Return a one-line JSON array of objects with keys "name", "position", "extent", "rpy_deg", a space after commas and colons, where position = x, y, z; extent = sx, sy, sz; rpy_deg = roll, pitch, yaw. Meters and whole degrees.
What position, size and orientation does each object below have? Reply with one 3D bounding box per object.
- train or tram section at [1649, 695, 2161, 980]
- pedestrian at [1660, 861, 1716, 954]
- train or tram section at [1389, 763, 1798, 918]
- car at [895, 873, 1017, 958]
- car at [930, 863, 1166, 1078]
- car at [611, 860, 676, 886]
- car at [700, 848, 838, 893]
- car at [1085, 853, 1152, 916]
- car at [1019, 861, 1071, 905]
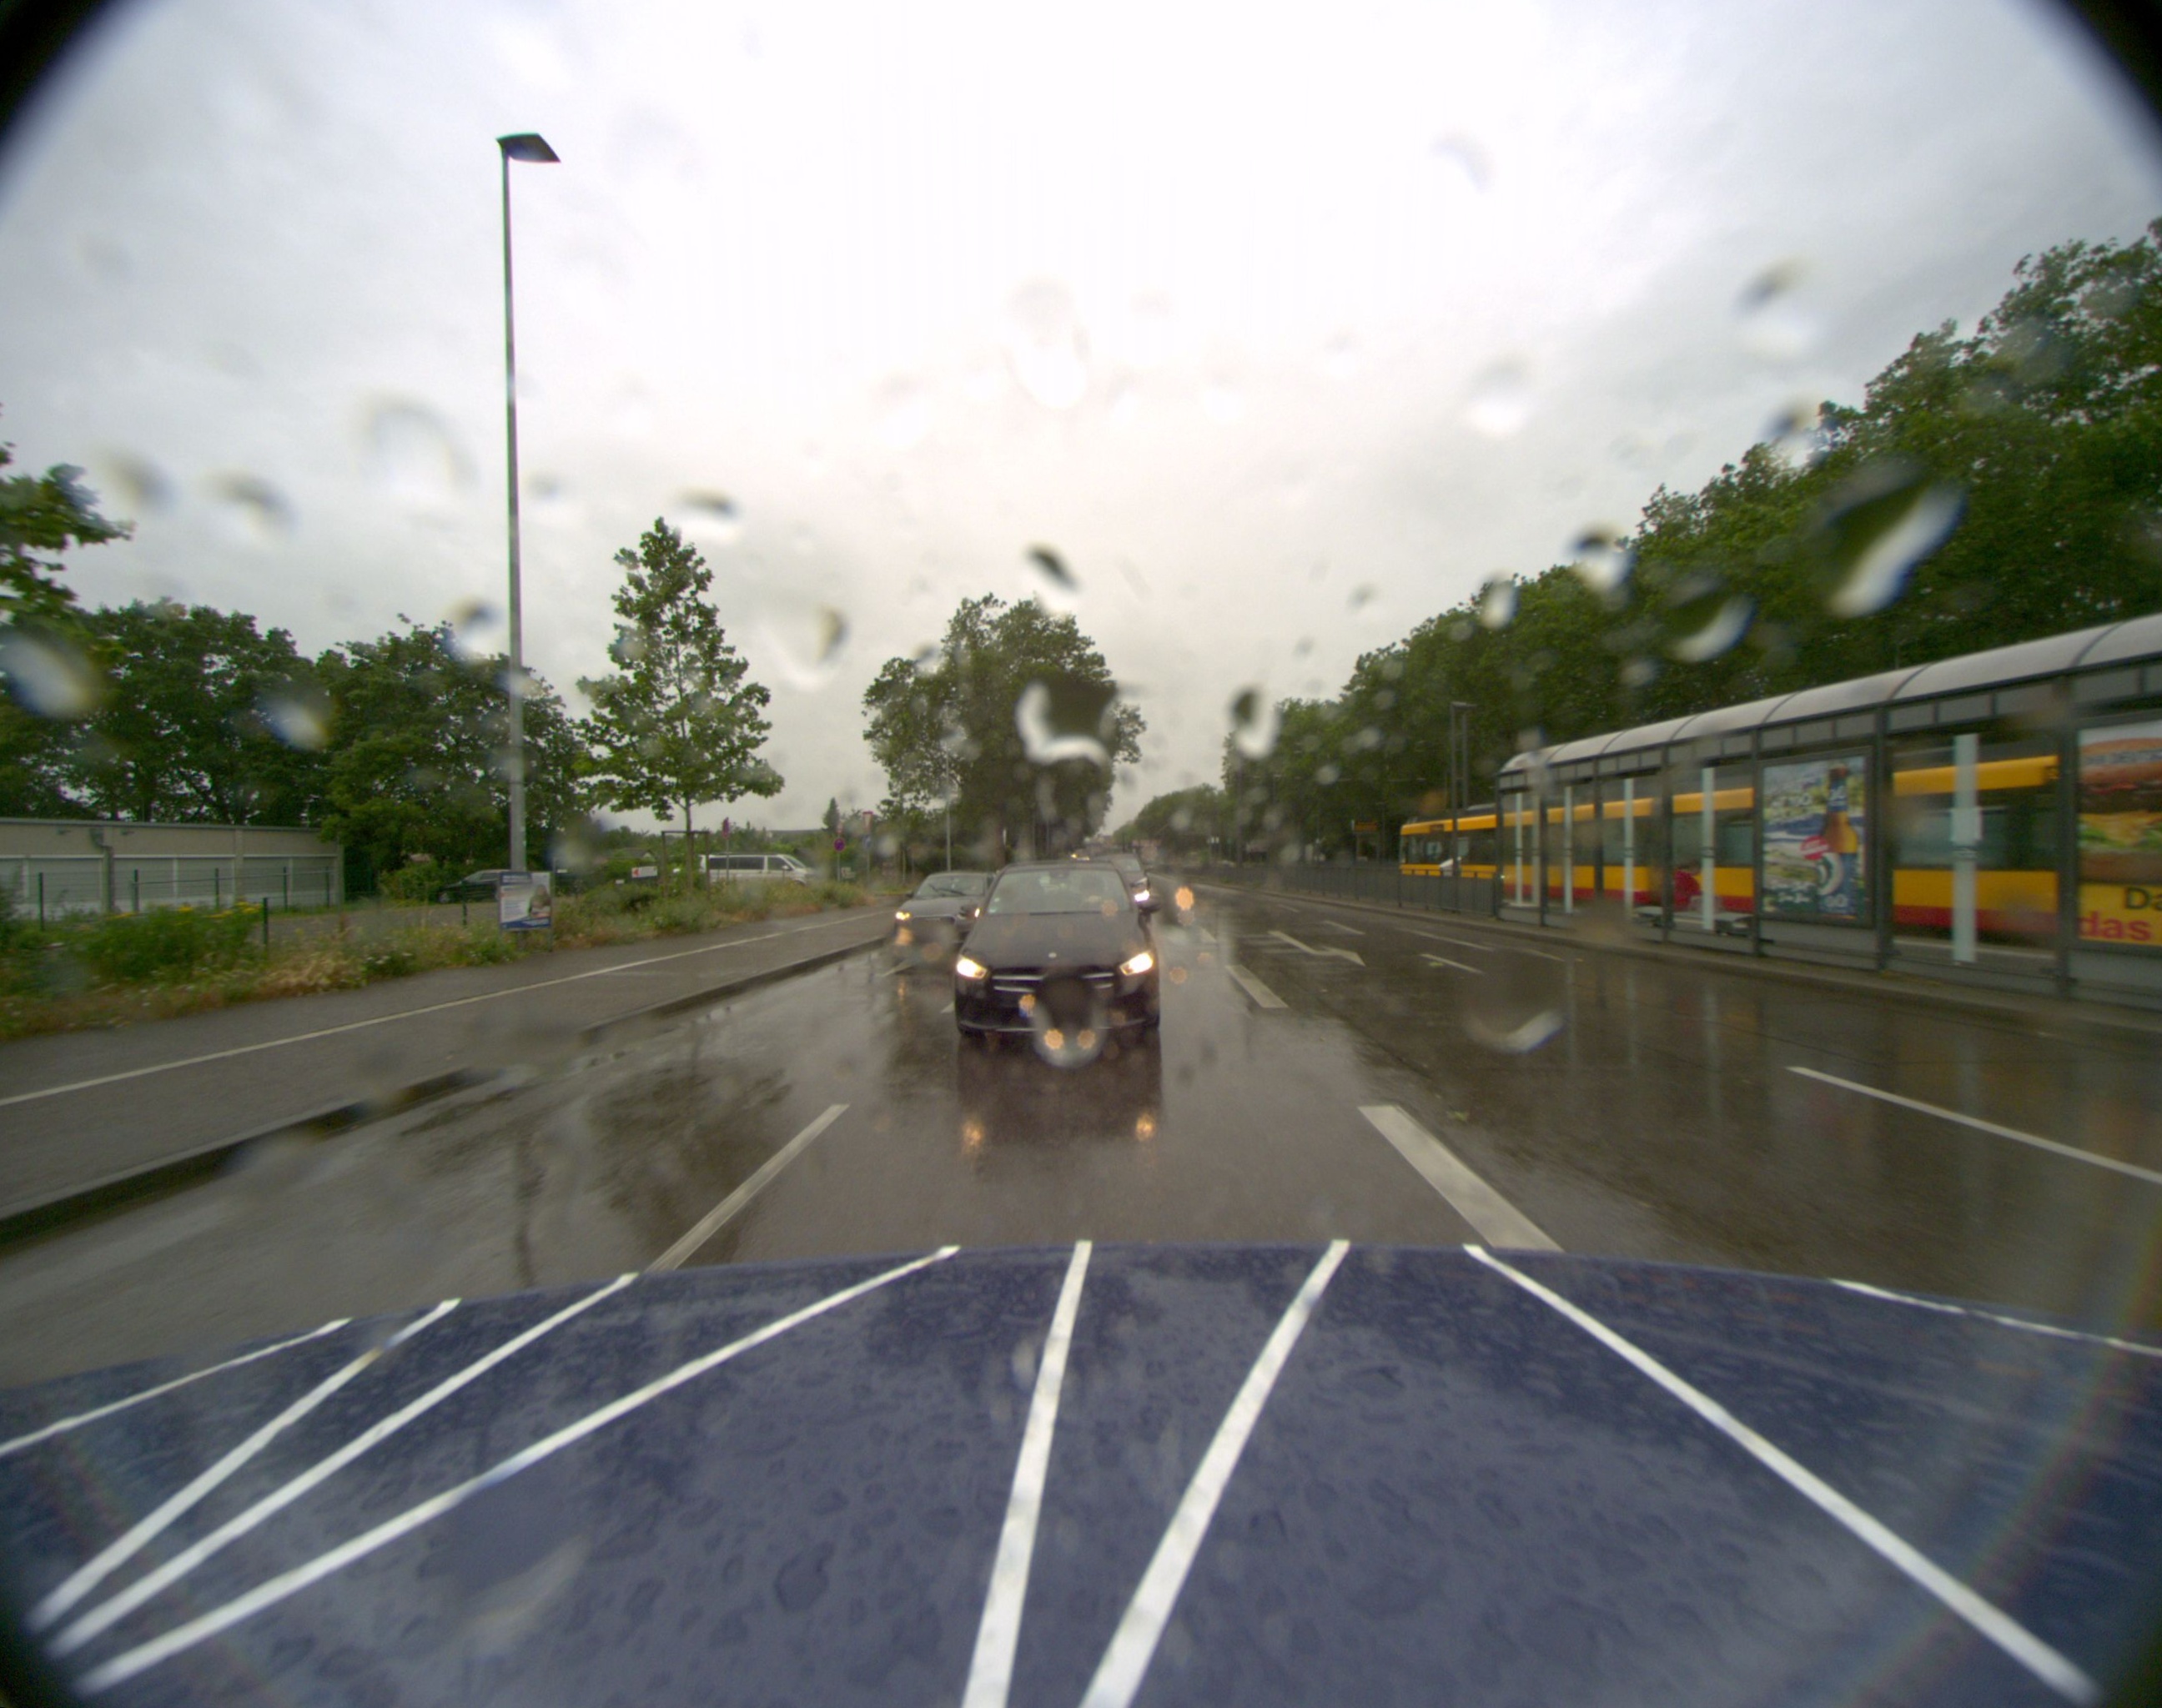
[{"name": "train or tram section", "position": [16.305, -0.312, 12.515], "extent": [3.751, 3.817, 13.252], "rpy_deg": [-2, 1, -1]}, {"name": "pedestrian", "position": [8.373, 0.729, 10.490], "extent": [0.458, 1.229, 0.467], "rpy_deg": [-1, 2, 14]}, {"name": "train or tram section", "position": [16.125, -0.418, 26.970], "extent": [3.751, 3.777, 15.568], "rpy_deg": [-2, 1, -1]}, {"name": "car", "position": [-2.283, 1.089, 14.745], "extent": [1.601, 1.358, 3.632], "rpy_deg": [0, 0, 3]}, {"name": "car", "position": [-0.227, 0.918, 7.908], "extent": [1.758, 1.572, 4.169], "rpy_deg": [-2, 0, 1]}, {"name": "car", "position": [-29.030, 1.239, 50.465], "extent": [3.552, 1.575, 1.345], "rpy_deg": [-2, 1, 5]}, {"name": "car", "position": [-13.749, 0.716, 33.718], "extent": [5.175, 1.715, 2.006], "rpy_deg": [-2, 1, -2]}, {"name": "car", "position": [0.990, 0.770, 21.260], "extent": [1.689, 1.611, 4.000], "rpy_deg": [0, 0, 1]}, {"name": "car", "position": [-1.383, 1.114, 30.637], "extent": [1.706, 1.499, 3.879], "rpy_deg": [-2, 1, 2]}]
